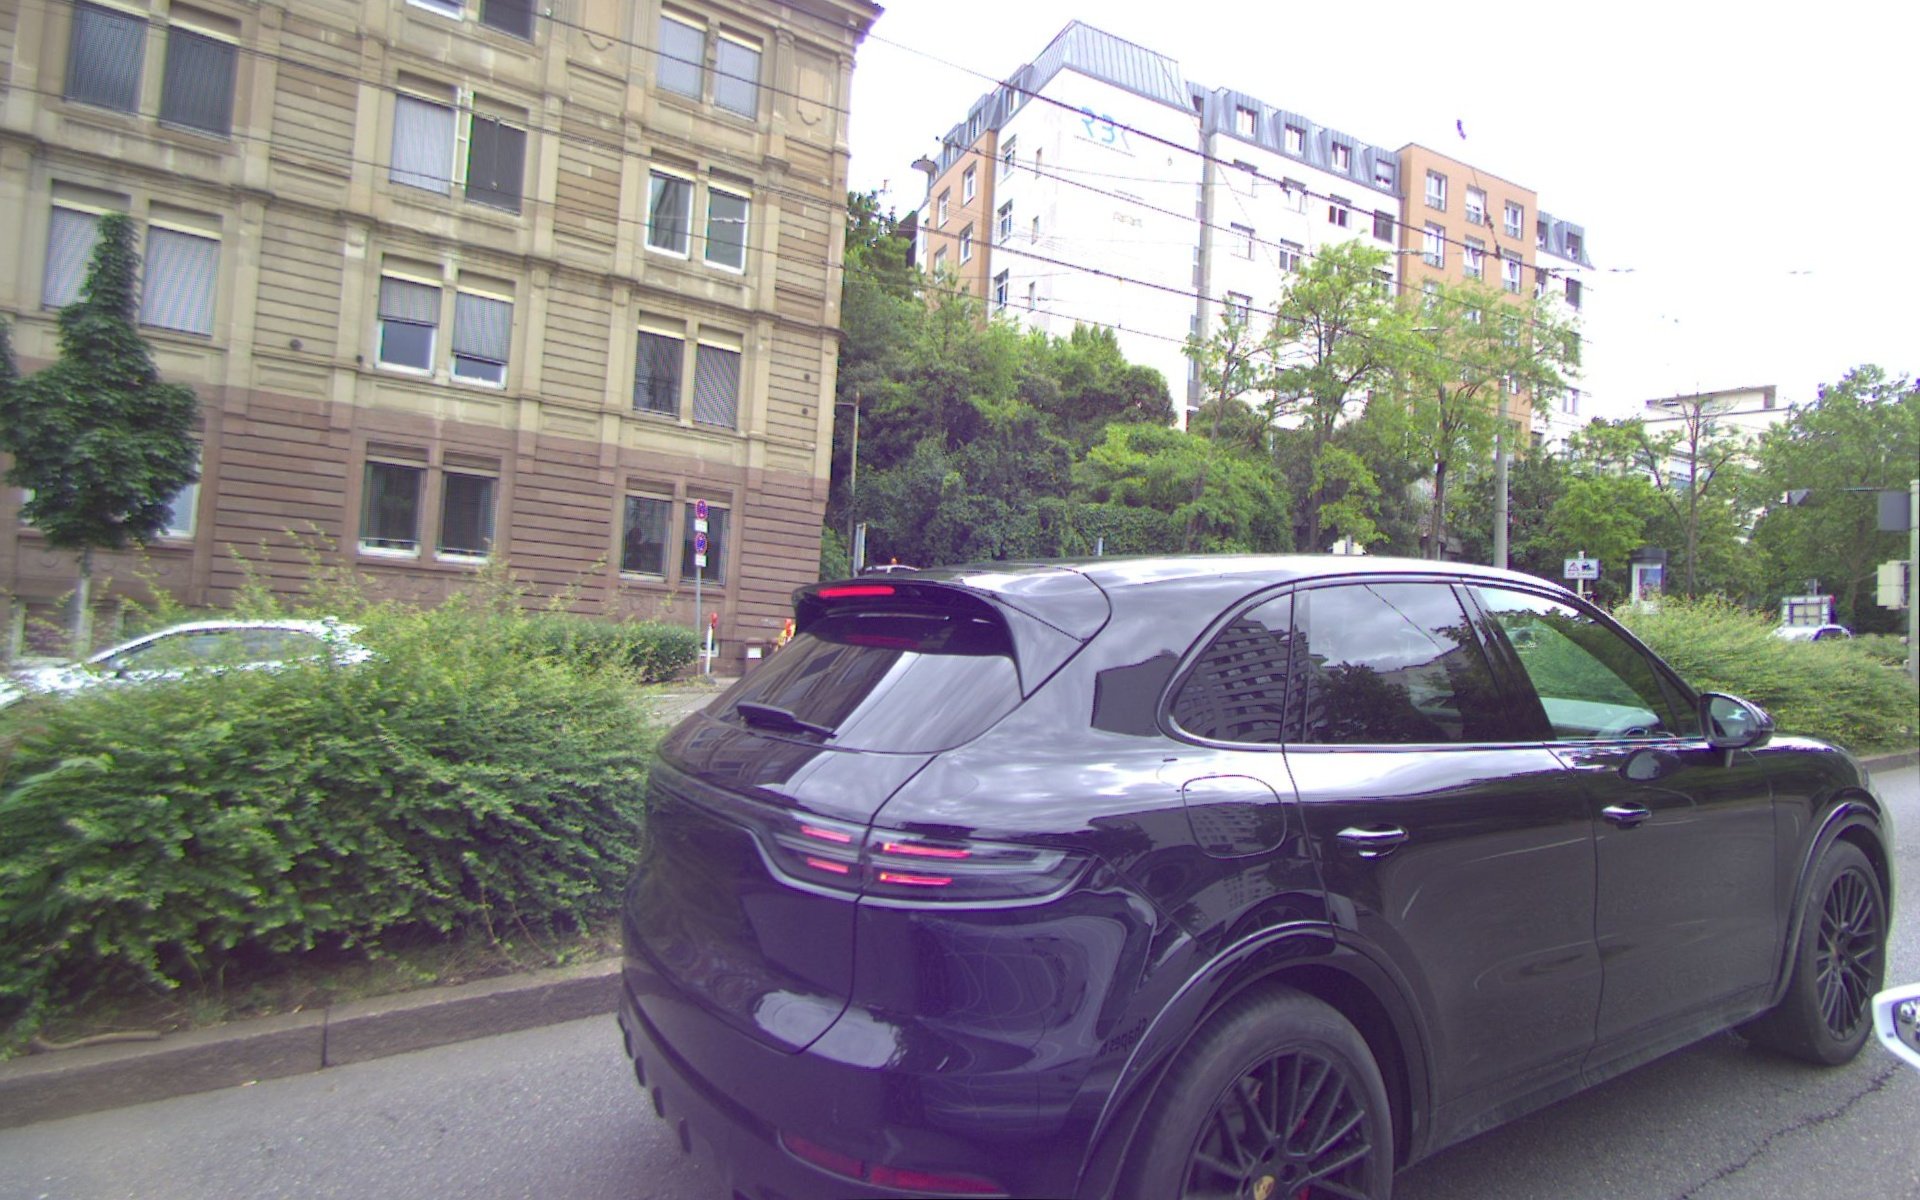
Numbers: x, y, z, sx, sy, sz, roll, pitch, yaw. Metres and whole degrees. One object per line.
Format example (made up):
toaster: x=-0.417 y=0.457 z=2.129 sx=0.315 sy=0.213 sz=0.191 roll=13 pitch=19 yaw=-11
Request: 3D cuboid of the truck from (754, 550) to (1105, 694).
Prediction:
truck: x=-0.495 y=0.644 z=21.504 sx=7.084 sy=2.542 sz=2.899 roll=5 pitch=-5 yaw=-35

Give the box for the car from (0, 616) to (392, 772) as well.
car: x=-8.693 y=0.966 z=11.205 sx=4.022 sy=1.507 sz=1.730 roll=2 pitch=-1 yaw=-33

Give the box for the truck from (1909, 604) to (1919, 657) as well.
truck: x=42.699 y=1.413 z=42.285 sx=5.964 sy=2.198 sz=2.410 roll=3 pitch=0 yaw=-31

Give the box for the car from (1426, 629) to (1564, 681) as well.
car: x=14.884 y=1.536 z=27.875 sx=4.025 sy=1.340 sz=1.729 roll=3 pitch=-2 yaw=-34

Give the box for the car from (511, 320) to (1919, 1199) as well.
car: x=1.220 y=0.619 z=3.377 sx=4.728 sy=1.707 sz=2.017 roll=3 pitch=-2 yaw=-32

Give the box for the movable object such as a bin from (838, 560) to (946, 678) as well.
movable object such as a bin: x=-1.771 y=0.506 z=25.977 sx=2.010 sy=2.875 sz=1.980 roll=2 pitch=-2 yaw=-36
